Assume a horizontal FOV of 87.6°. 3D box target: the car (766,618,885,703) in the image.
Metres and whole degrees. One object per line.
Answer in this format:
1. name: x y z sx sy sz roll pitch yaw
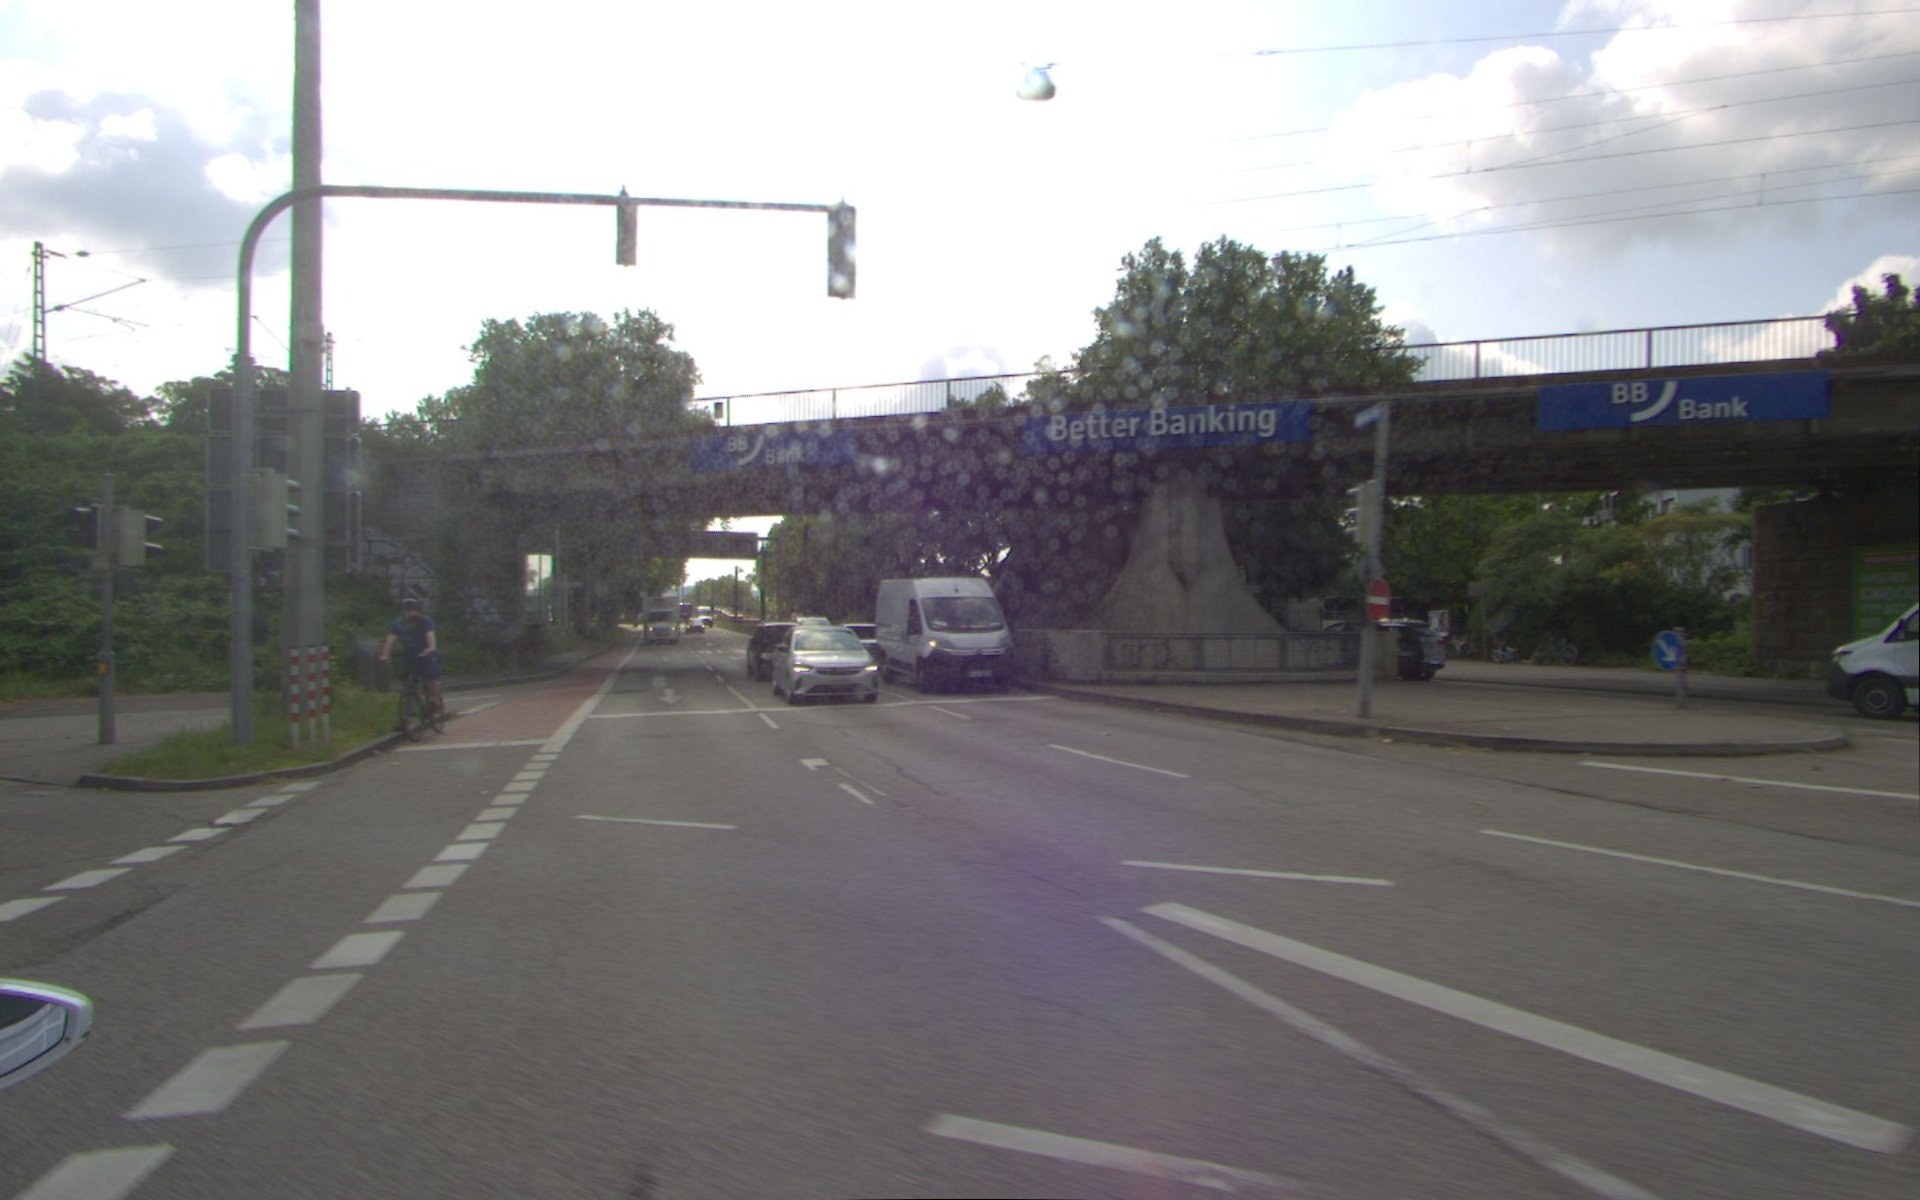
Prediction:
1. car: -2.758 1.124 19.816 1.678 1.495 3.993 0 -2 -18

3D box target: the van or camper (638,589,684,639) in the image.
1. van or camper: -19.601 0.869 65.831 2.617 3.122 5.739 0 1 -14

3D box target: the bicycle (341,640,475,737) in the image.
1. bicycle: -7.238 1.120 13.277 0.829 1.108 2.317 0 -1 -9

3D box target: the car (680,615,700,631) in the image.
1. car: -25.930 2.203 96.088 1.692 1.461 3.991 0 -1 -19

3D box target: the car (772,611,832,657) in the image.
1. car: -6.213 1.265 39.068 1.821 1.597 4.308 0 1 -16

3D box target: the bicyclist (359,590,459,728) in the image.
1. bicyclist: -7.276 0.764 13.265 0.829 1.700 0.823 -4 0 -10

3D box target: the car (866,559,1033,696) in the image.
1. car: -0.436 0.638 22.829 2.224 2.558 5.620 -5 -1 -16

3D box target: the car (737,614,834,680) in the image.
1. car: -4.862 1.194 27.369 1.741 1.604 4.650 0 0 -21

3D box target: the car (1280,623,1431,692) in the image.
1. car: 10.533 1.487 26.951 1.766 1.629 3.793 -2 -1 -17

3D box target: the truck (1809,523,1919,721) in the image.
1. truck: 16.969 0.378 15.023 2.414 3.162 6.010 1 0 -21

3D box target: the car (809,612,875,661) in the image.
1. car: -3.951 1.158 33.075 1.621 1.417 3.731 0 1 -16

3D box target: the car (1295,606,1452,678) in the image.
1. car: 12.522 1.223 30.675 1.966 1.926 4.499 2 0 -17
